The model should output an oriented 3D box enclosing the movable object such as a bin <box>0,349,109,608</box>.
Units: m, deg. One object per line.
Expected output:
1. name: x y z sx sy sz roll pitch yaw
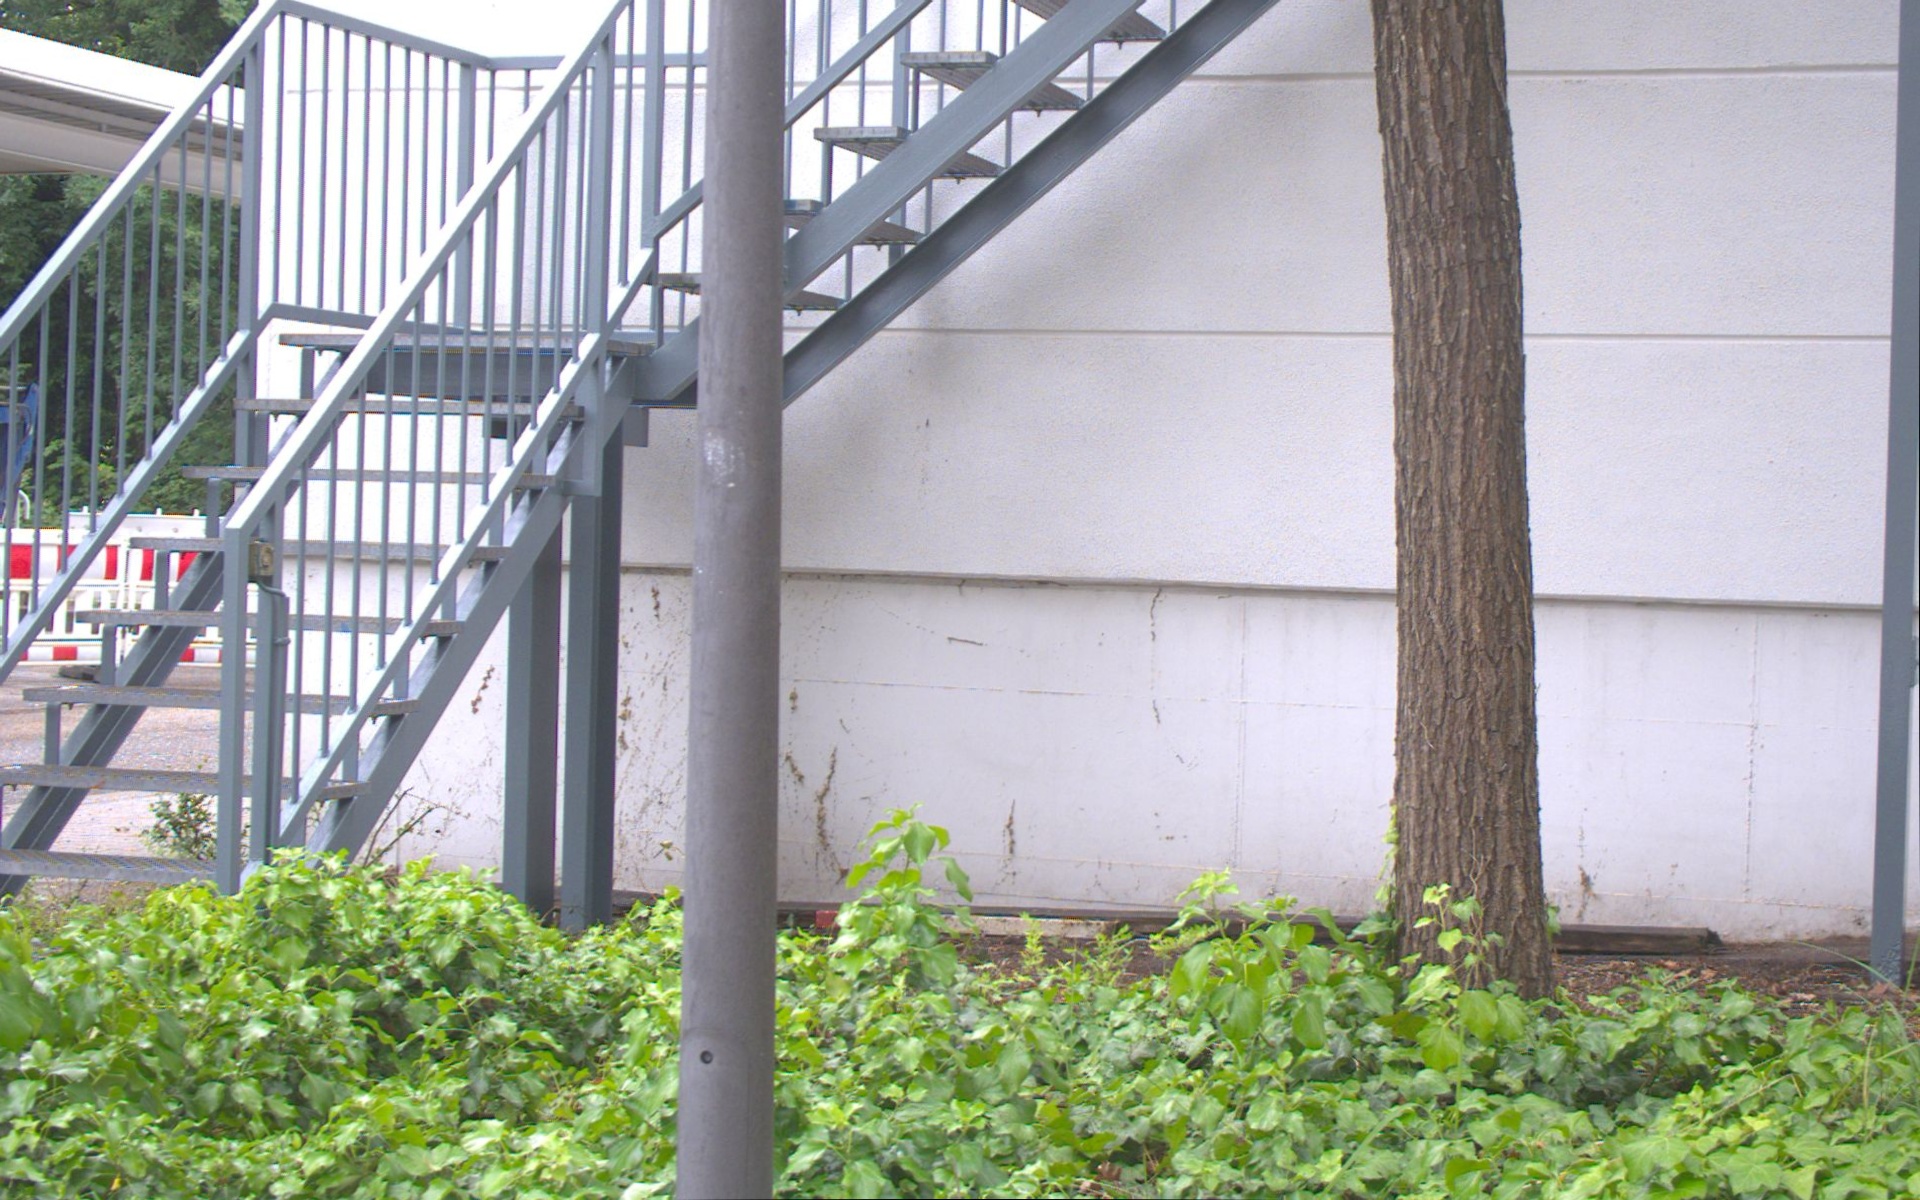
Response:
1. movable object such as a bin: -9.166 -1.049 28.485 1.995 2.164 4.666 2 0 16
